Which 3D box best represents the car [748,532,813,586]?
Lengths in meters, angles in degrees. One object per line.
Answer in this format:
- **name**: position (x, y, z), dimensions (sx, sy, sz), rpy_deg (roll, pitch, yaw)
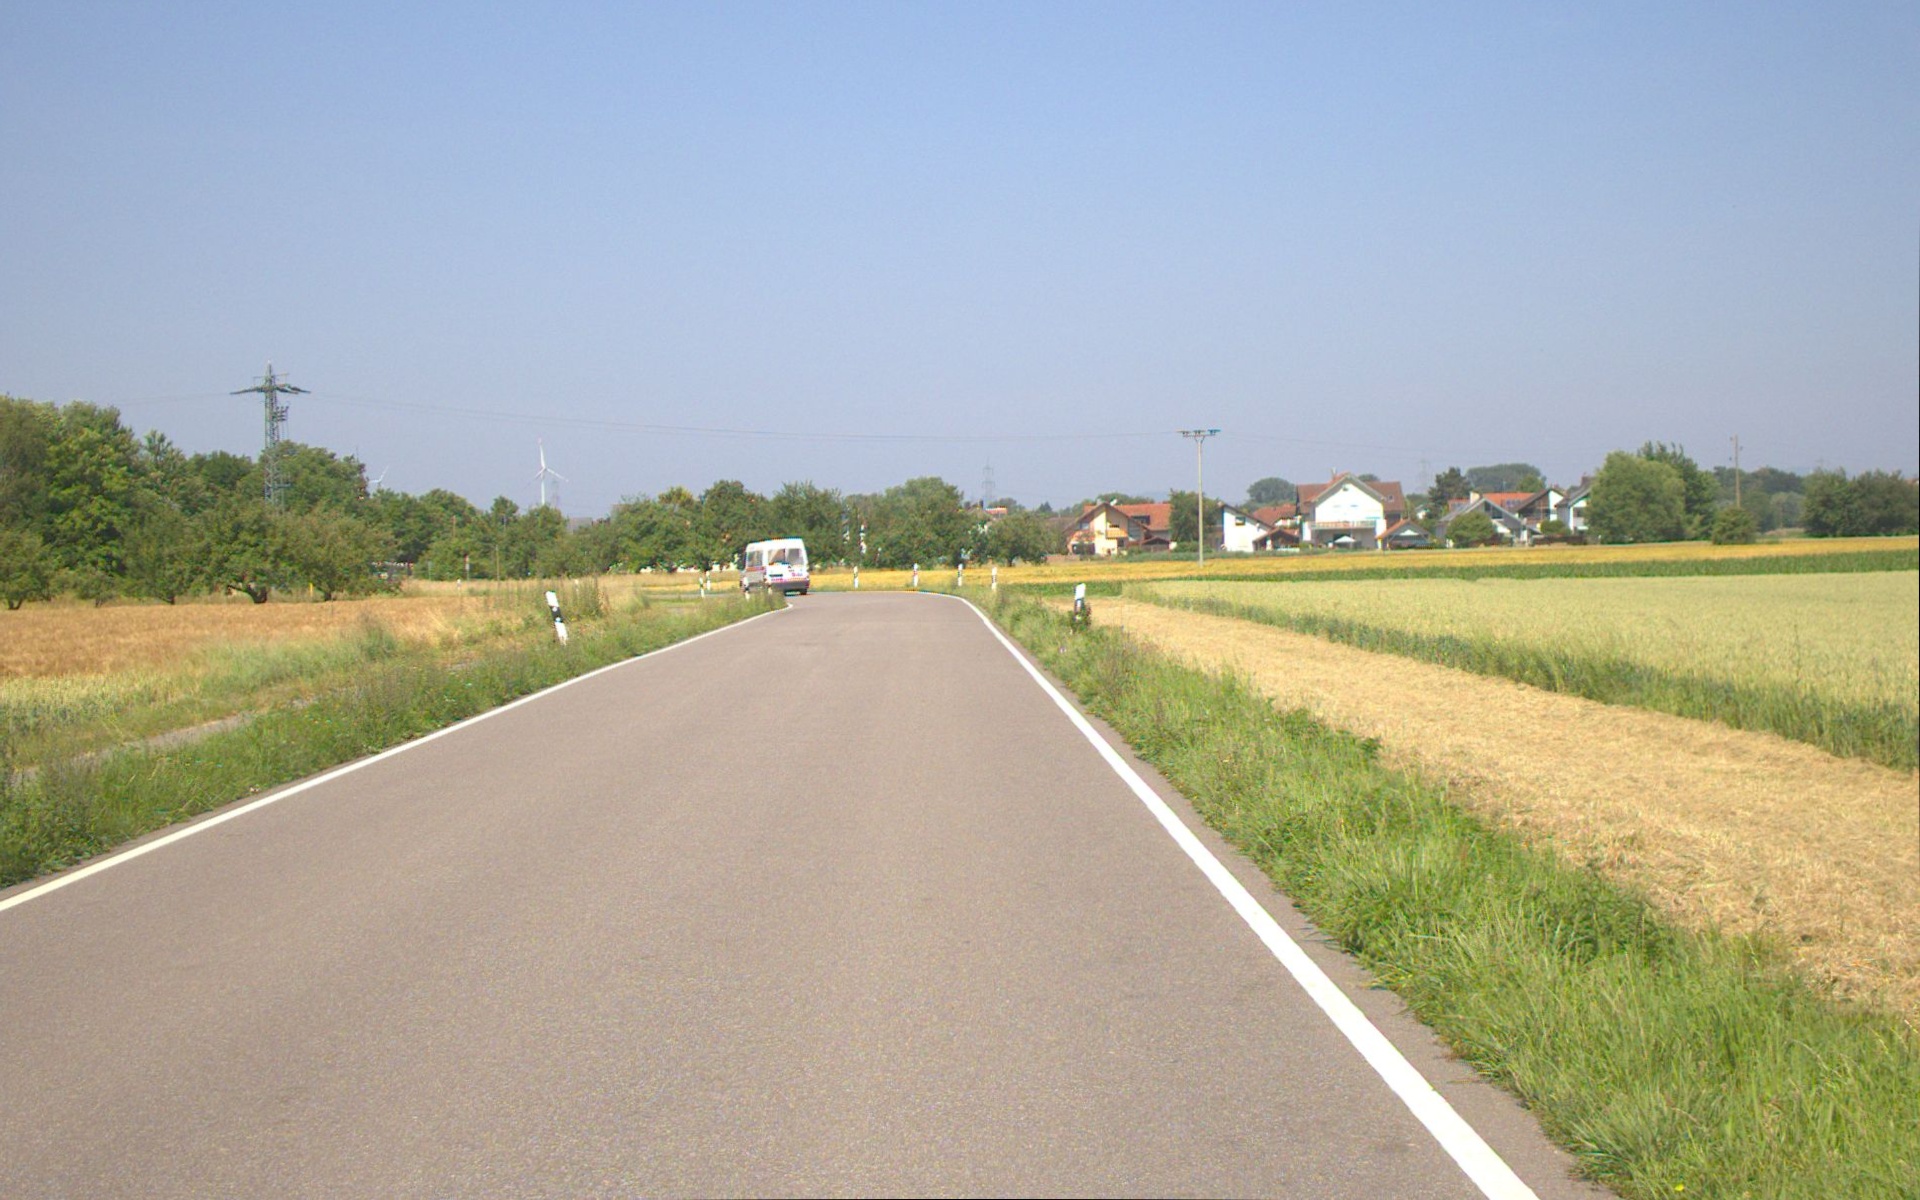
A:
- **car**: position (-7.877, -1.809, 150.115), dimensions (2.106, 2.296, 5.497), rpy_deg (0, 1, -11)
